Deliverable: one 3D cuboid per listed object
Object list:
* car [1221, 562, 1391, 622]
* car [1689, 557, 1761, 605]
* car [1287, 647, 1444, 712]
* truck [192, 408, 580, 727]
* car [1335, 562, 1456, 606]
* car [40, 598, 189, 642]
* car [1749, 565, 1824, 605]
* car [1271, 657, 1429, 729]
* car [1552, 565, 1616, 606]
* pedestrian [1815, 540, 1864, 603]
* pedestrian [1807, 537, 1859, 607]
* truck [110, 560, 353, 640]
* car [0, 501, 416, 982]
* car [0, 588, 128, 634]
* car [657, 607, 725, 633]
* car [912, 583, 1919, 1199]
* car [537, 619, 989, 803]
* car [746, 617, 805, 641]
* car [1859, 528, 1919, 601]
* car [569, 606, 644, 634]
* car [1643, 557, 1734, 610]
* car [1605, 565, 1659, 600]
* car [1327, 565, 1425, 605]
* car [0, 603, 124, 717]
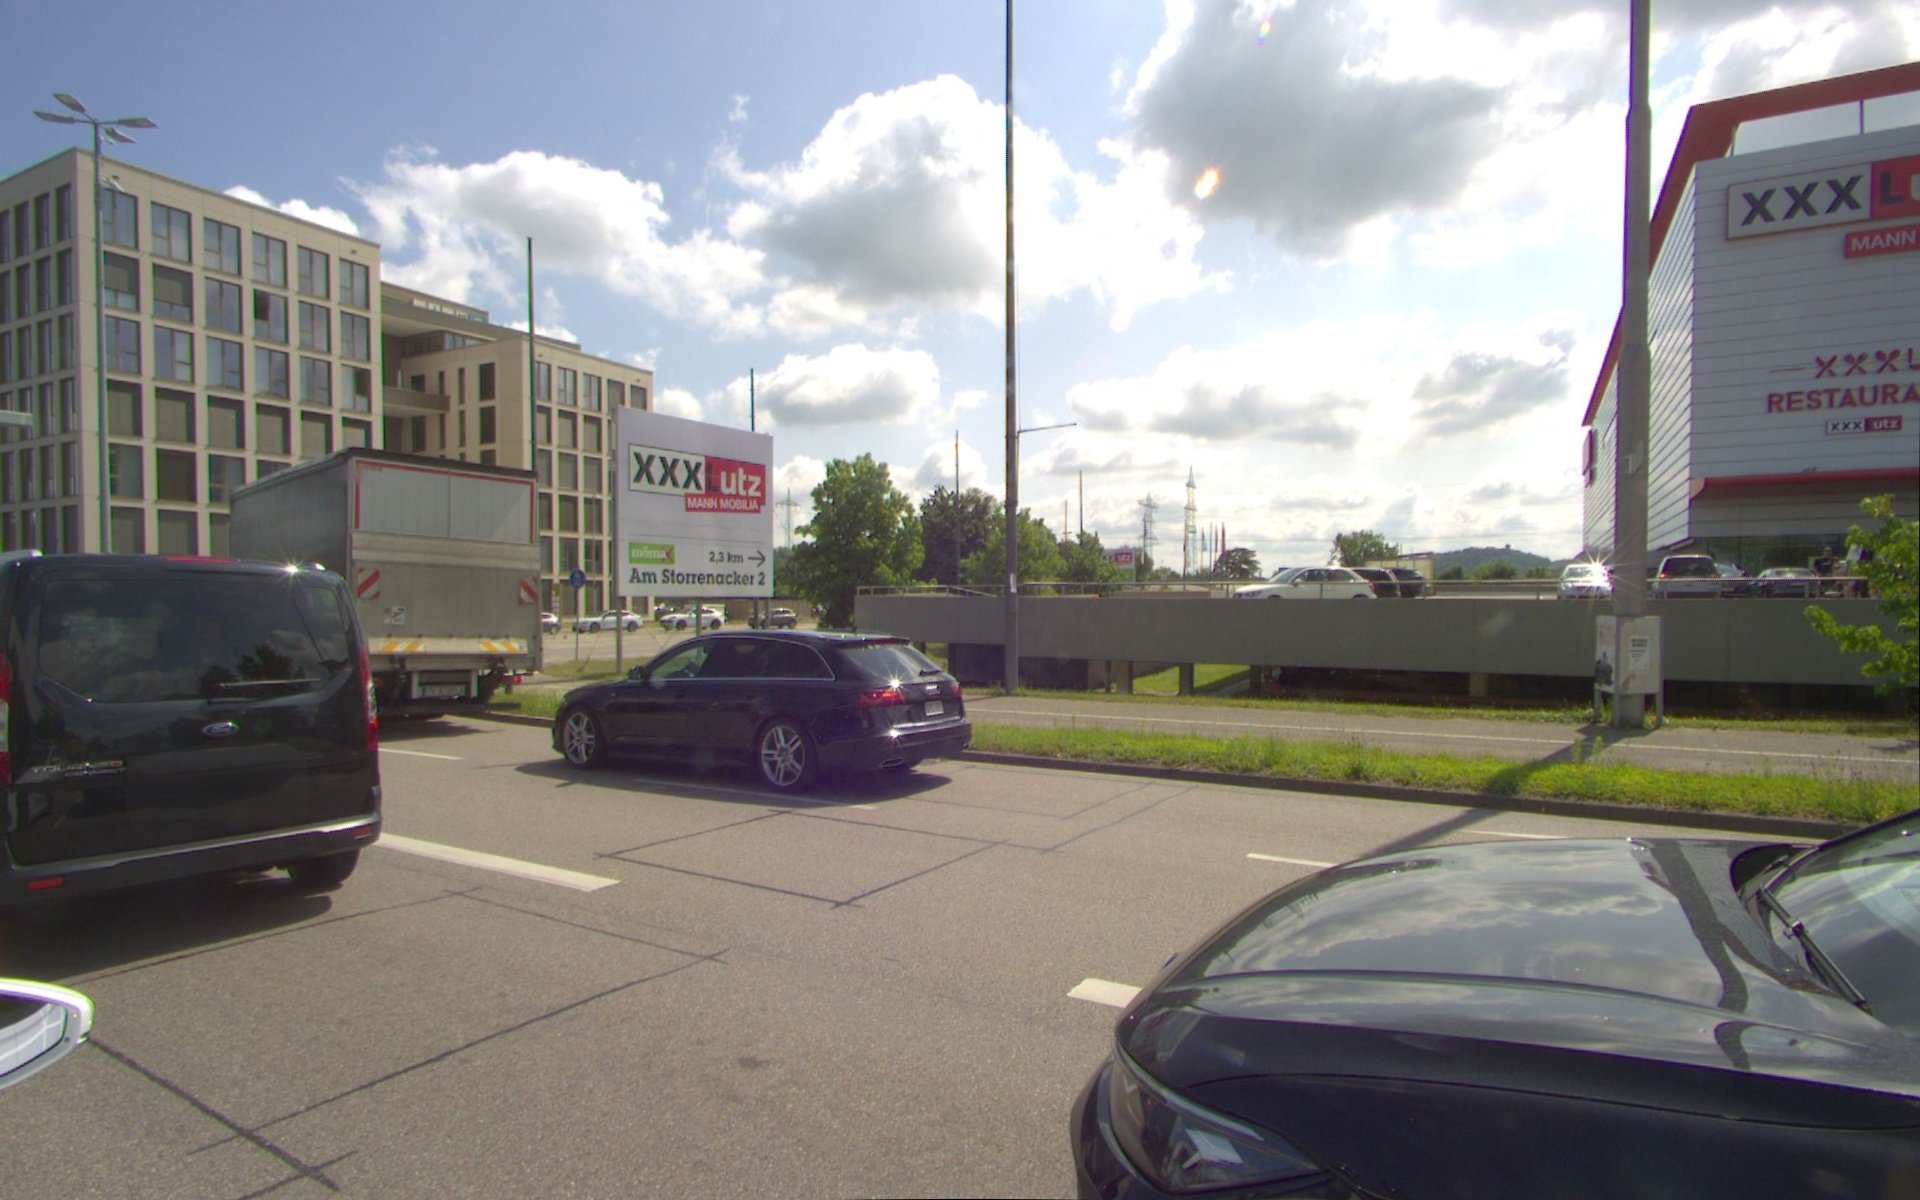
[{"bbox_3d":[9.614,-0.199,28.020,4.083,1.606,1.882,0,-2,-2],"label":"car"},{"bbox_3d":[31.871,-0.732,41.813,1.888,1.772,3.982,-1,-2,31],"label":"car"},{"bbox_3d":[12.455,2.389,30.800,4.296,1.772,1.992,-1,-1,29],"label":"car"},{"bbox_3d":[-10.126,-0.259,17.045,8.973,4.078,3.196,-2,-2,43],"label":"truck"},{"bbox_3d":[17.443,-0.586,40.123,4.352,1.626,1.948,-1,-1,26],"label":"car"},{"bbox_3d":[-33.575,0.831,39.908,1.798,1.647,4.200,-1,-2,25],"label":"car"},{"bbox_3d":[33.905,-0.563,41.170,1.536,1.490,4.406,0,-1,28],"label":"car"},{"bbox_3d":[10.988,2.548,28.221,3.938,1.772,1.992,-1,-1,29],"label":"car"},{"bbox_3d":[25.394,-0.561,40.860,1.925,1.490,4.406,0,-1,28],"label":"car"},{"bbox_3d":[25.575,-0.816,29.123,0.694,1.765,1.019,0,-1,18],"label":"pedestrian"},{"bbox_3d":[26.119,-0.823,29.964,0.694,2.039,0.910,0,-1,-13],"label":"pedestrian"},{"bbox_3d":[-35.882,0.163,49.950,2.632,3.600,9.755,-1,-2,25],"label":"truck"},{"bbox_3d":[-5.080,0.604,5.748,3.944,1.929,1.819,-1,-1,34],"label":"car"},{"bbox_3d":[-39.323,0.532,43.132,1.967,1.861,4.978,-1,-2,25],"label":"car"},{"bbox_3d":[-19.865,1.525,74.102,1.809,1.861,4.675,-2,-2,43],"label":"car"},{"bbox_3d":[2.565,0.734,0.977,5.129,1.497,1.805,-1,-1,32],"label":"car"},{"bbox_3d":[-2.121,0.951,10.197,4.613,1.497,1.770,-1,-1,33],"label":"car"},{"bbox_3d":[-14.705,2.363,79.904,1.809,1.861,4.408,-2,-2,43],"label":"car"},{"bbox_3d":[26.281,-0.937,27.530,1.892,1.772,4.163,-1,-2,36],"label":"car"},{"bbox_3d":[-24.286,1.399,68.908,1.806,1.861,4.692,-1,-2,38],"label":"car"},{"bbox_3d":[25.001,-0.507,34.509,1.925,1.626,4.406,0,-1,28],"label":"car"},{"bbox_3d":[35.110,-0.863,52.428,1.925,1.626,4.406,0,-1,28],"label":"car"},{"bbox_3d":[20.494,-0.709,49.318,4.352,1.808,1.948,-1,-1,26],"label":"car"},{"bbox_3d":[-15.486,1.066,16.426,4.169,1.675,1.853,-6,-5,37],"label":"car"}]
